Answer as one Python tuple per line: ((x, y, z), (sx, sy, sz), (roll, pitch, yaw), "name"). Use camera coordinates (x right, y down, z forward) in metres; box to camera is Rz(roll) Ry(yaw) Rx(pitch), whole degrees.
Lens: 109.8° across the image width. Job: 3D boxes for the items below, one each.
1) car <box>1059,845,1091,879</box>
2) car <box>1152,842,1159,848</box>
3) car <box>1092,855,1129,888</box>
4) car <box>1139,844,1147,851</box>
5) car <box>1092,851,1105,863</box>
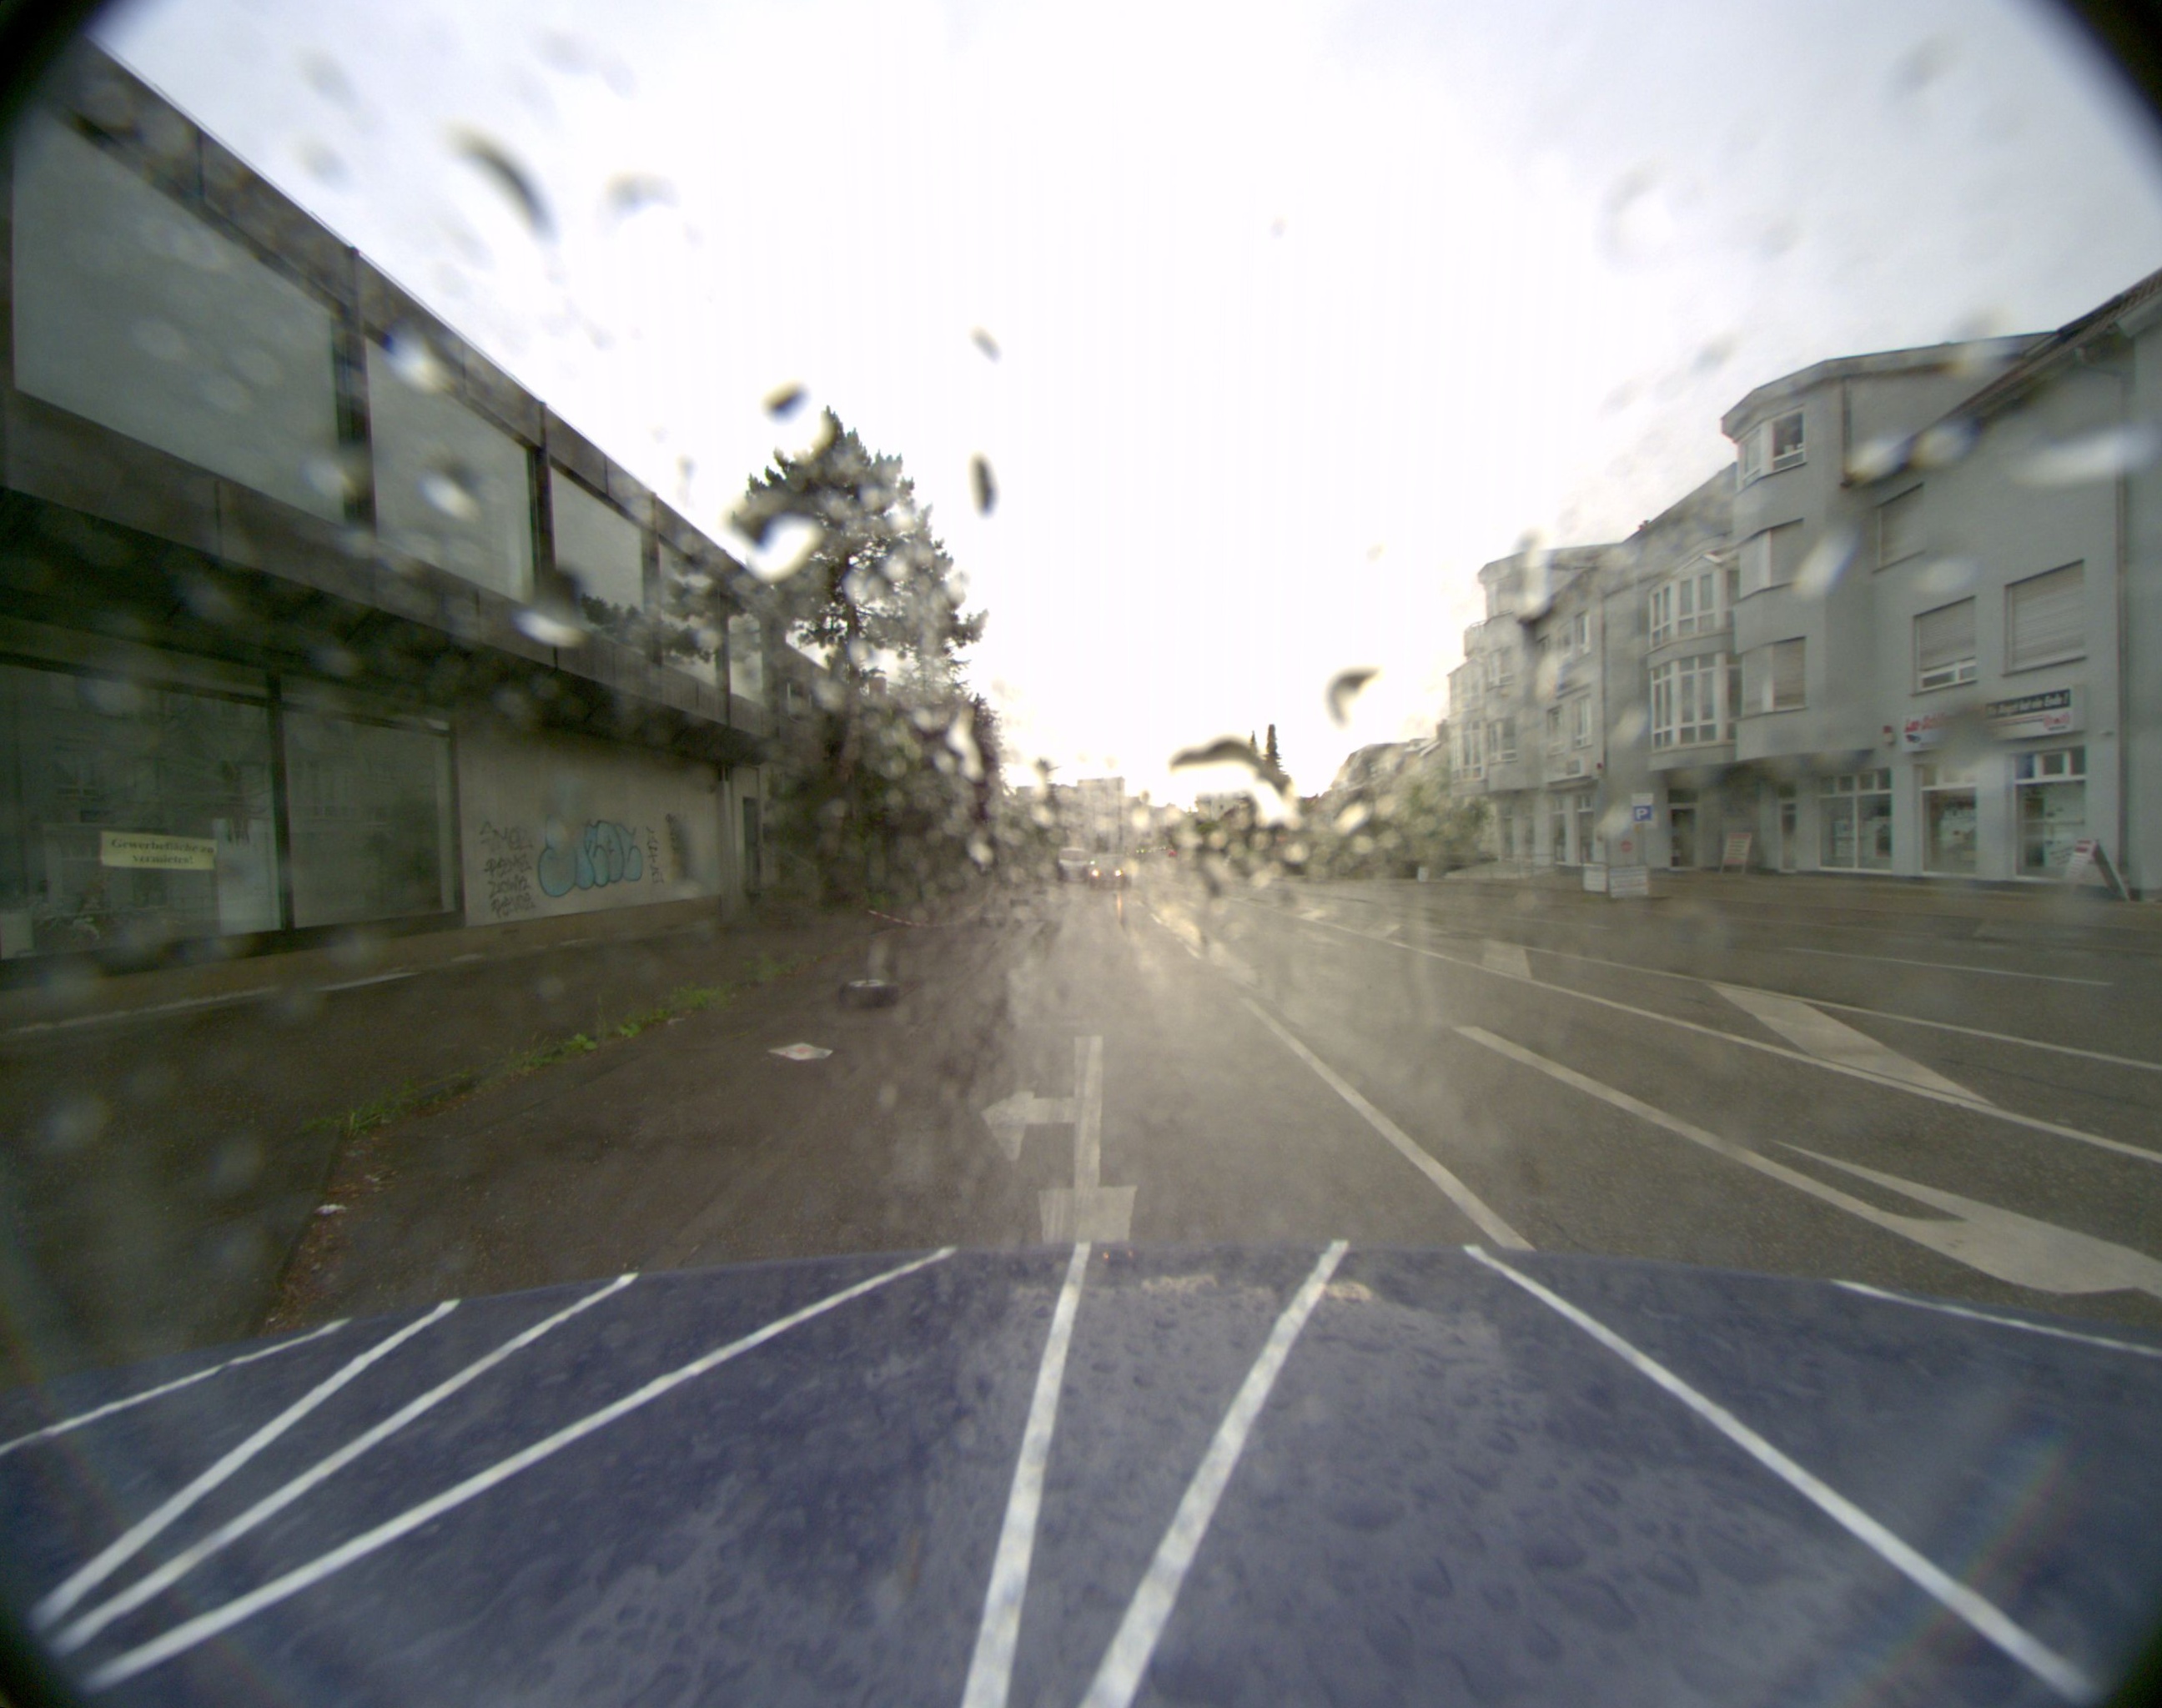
((-0.344, 0.477, 50.416), (1.998, 2.072, 3.999), (-2, 1, 1), "car")
((22.140, -2.661, 226.552), (1.998, 1.774, 4.000), (-2, 1, 3), "car")
((1.477, 0.844, 38.975), (1.754, 1.534, 4.676), (-1, 1, 1), "car")
((17.296, -1.773, 212.767), (1.998, 1.723, 3.999), (-2, 1, 1), "car")
((2.701, 0.433, 117.717), (1.803, 1.675, 3.999), (-2, 1, 1), "car")
